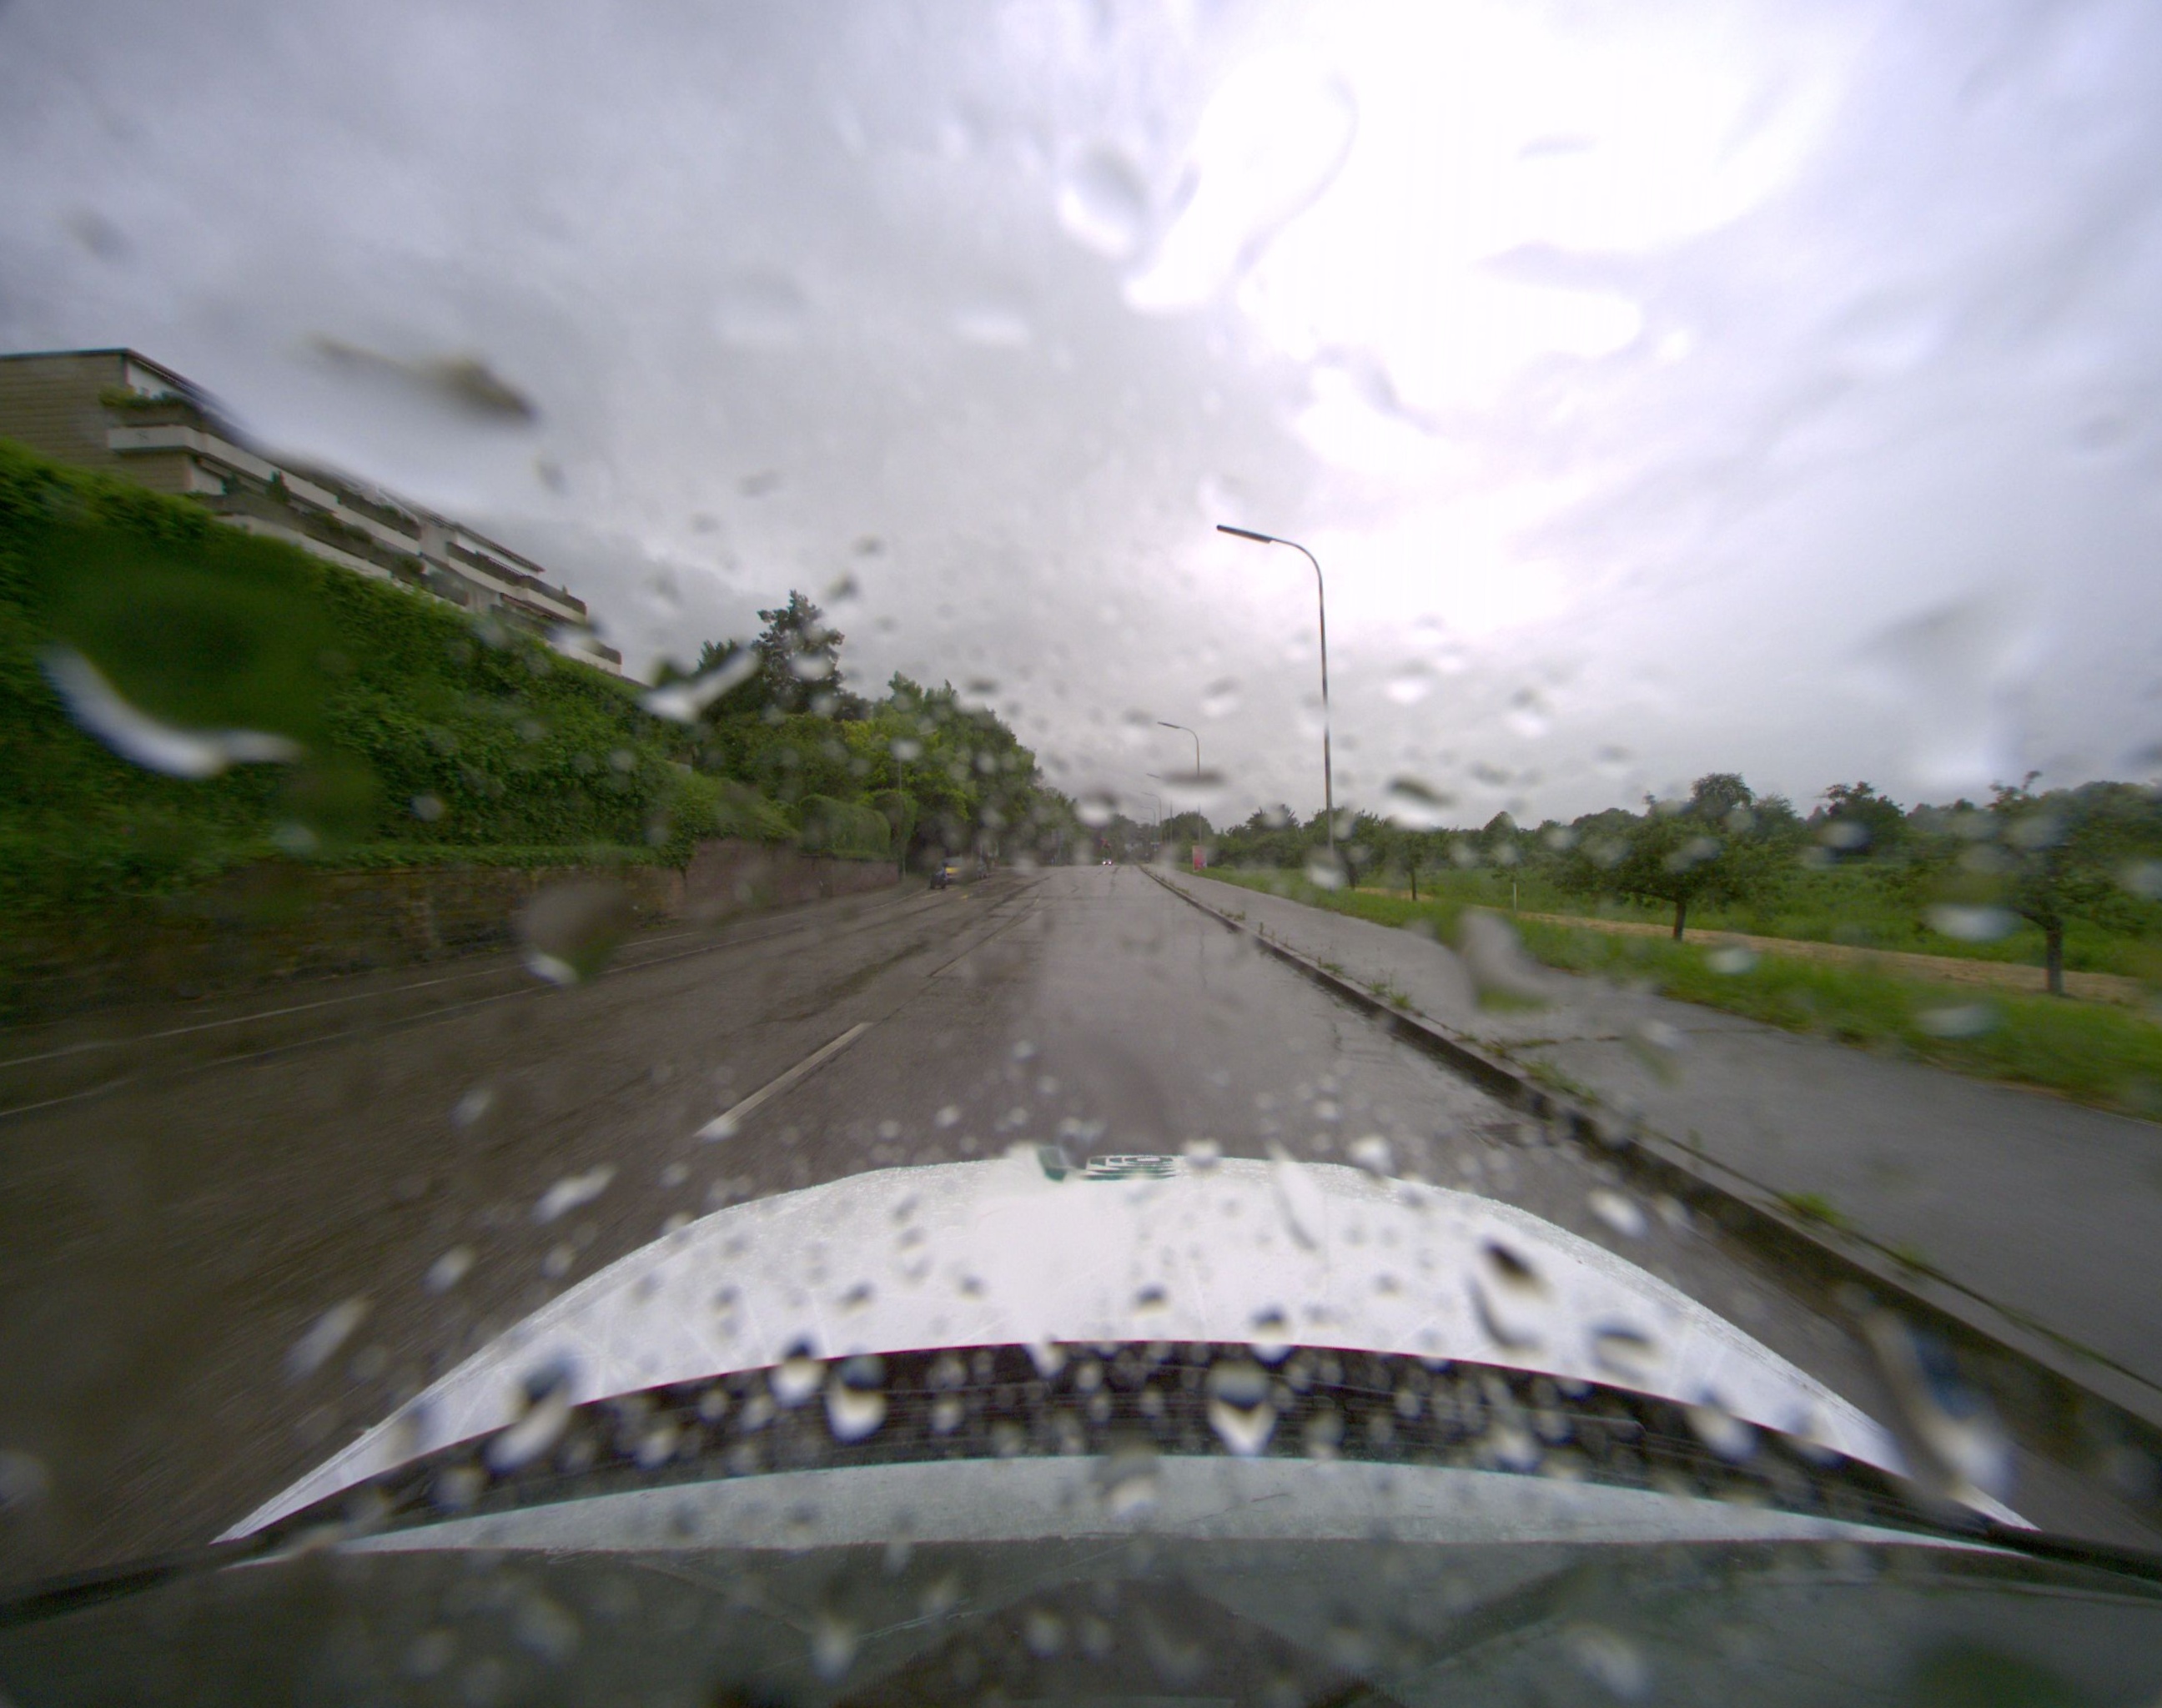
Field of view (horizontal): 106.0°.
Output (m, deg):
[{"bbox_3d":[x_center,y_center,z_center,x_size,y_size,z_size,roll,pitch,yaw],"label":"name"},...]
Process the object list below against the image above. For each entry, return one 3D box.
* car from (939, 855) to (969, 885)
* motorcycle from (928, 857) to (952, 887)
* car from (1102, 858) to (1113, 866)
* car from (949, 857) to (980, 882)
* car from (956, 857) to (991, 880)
[{"bbox_3d":[-7.003,0.886,45.100,1.432,1.537,2.813,-2,0,-7],"label":"car"},{"bbox_3d":[-6.681,0.838,38.585,0.835,1.341,2.495,-2,0,-4],"label":"motorcycle"},{"bbox_3d":[6.059,1.805,187.180,1.782,1.762,4.013,-1,0,12],"label":"car"},{"bbox_3d":[-7.001,0.922,49.371,1.430,1.419,4.099,-2,0,-3],"label":"car"},{"bbox_3d":[-7.215,0.974,54.858,1.681,1.419,4.740,-2,0,0],"label":"car"}]
